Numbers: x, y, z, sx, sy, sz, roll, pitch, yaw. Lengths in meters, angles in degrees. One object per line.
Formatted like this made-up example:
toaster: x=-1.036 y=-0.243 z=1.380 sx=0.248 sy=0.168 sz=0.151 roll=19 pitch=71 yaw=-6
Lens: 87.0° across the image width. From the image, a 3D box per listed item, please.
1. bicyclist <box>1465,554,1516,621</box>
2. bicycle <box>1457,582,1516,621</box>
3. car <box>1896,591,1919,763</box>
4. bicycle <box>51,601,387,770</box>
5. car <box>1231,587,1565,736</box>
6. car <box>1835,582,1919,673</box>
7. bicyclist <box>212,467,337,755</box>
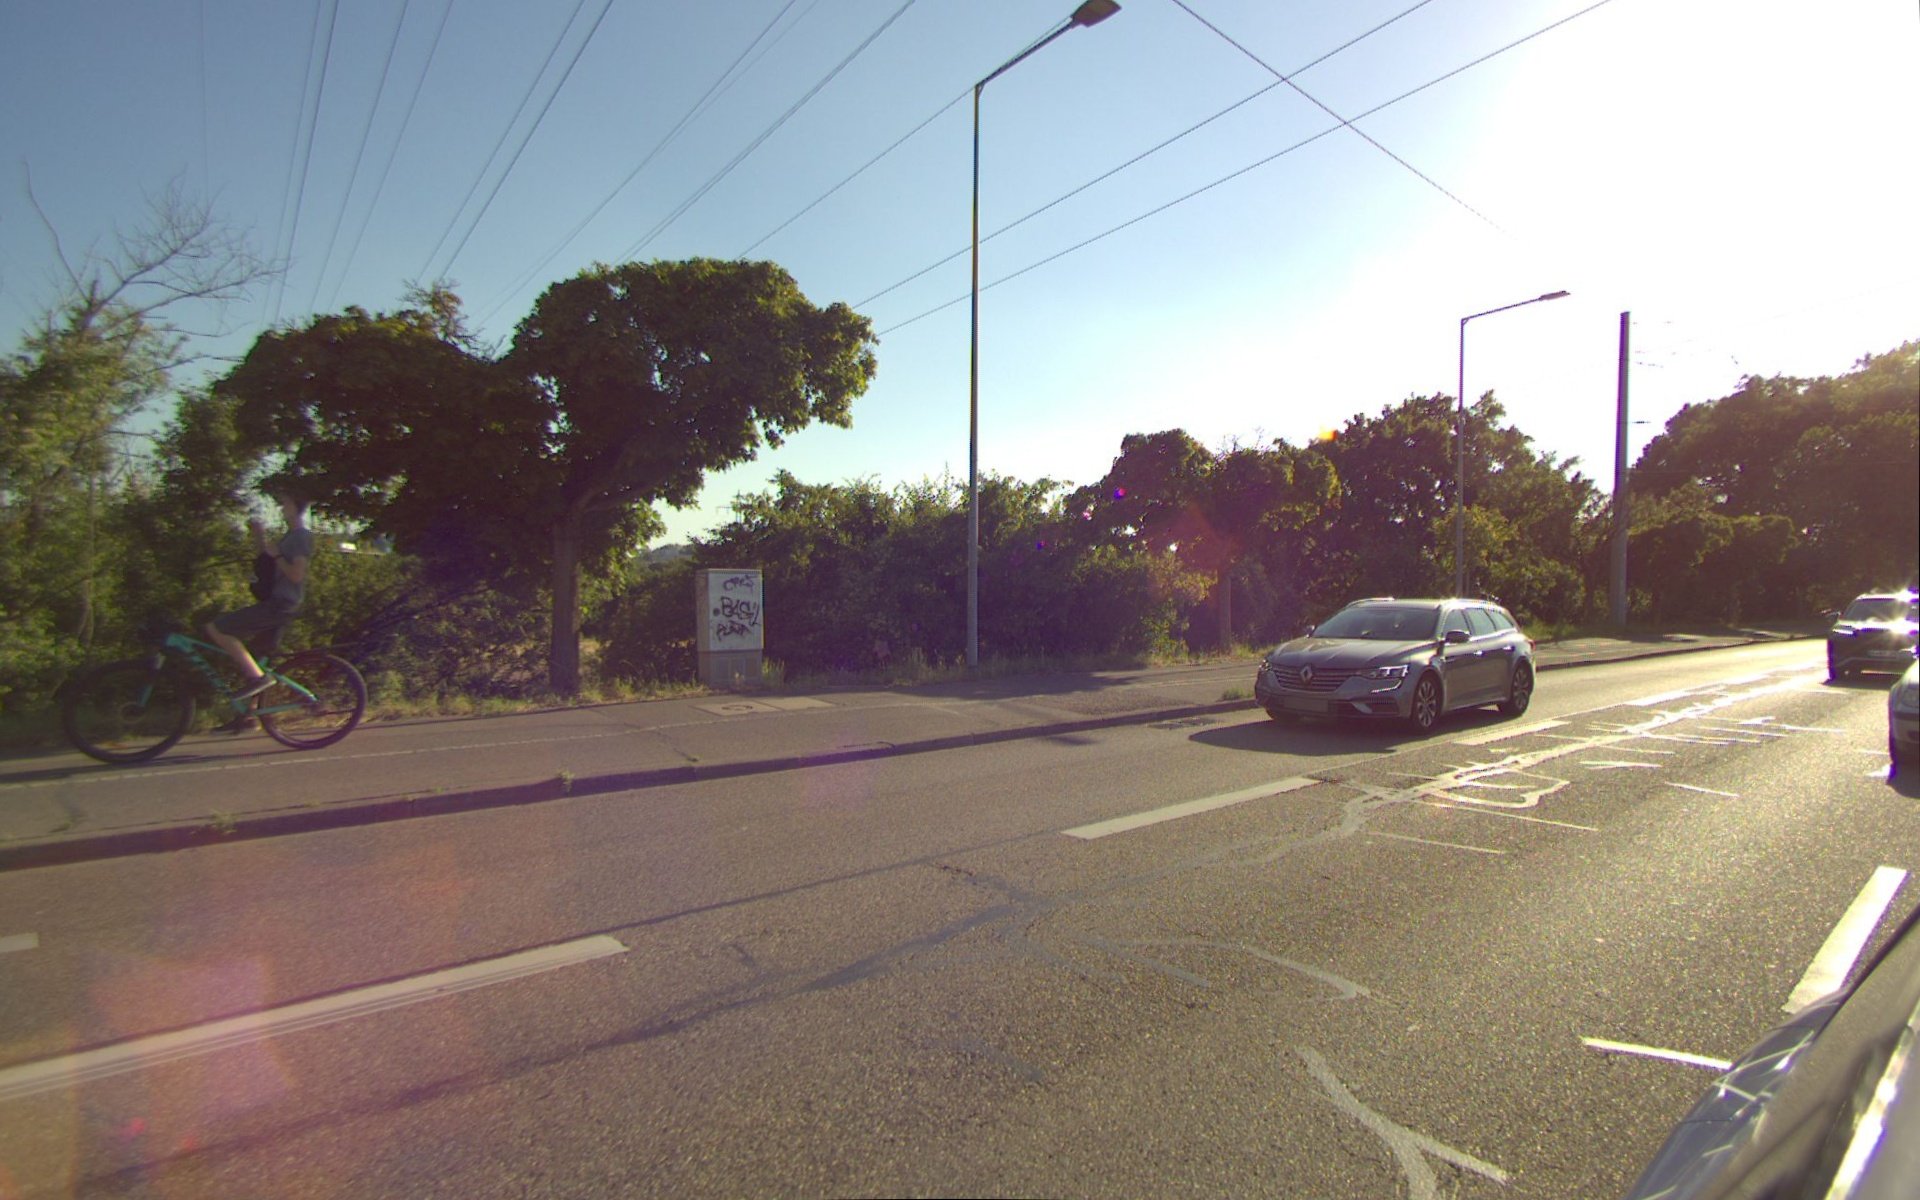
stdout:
bicyclist: x=12.313 y=-0.298 z=23.488 sx=1.042 sy=1.488 sz=0.628 roll=-1 pitch=5 yaw=-42
bicycle: x=12.222 y=0.018 z=23.462 sx=1.606 sy=0.844 sz=0.628 roll=-1 pitch=5 yaw=-41
car: x=10.177 y=0.648 z=9.389 sx=3.930 sy=1.463 sz=1.694 roll=-1 pitch=1 yaw=-40
bicycle: x=-5.364 y=0.562 z=7.439 sx=1.937 sy=1.074 sz=0.528 roll=-1 pitch=0 yaw=-41
car: x=5.440 y=0.585 z=12.285 sx=4.577 sy=1.461 sz=1.880 roll=-1 pitch=1 yaw=-40
car: x=18.667 y=0.472 z=19.683 sx=4.339 sy=1.620 sz=1.880 roll=-1 pitch=1 yaw=-41
bicyclist: x=-5.165 y=0.075 z=7.629 sx=0.716 sy=2.043 sz=0.528 roll=0 pitch=-1 yaw=-41
